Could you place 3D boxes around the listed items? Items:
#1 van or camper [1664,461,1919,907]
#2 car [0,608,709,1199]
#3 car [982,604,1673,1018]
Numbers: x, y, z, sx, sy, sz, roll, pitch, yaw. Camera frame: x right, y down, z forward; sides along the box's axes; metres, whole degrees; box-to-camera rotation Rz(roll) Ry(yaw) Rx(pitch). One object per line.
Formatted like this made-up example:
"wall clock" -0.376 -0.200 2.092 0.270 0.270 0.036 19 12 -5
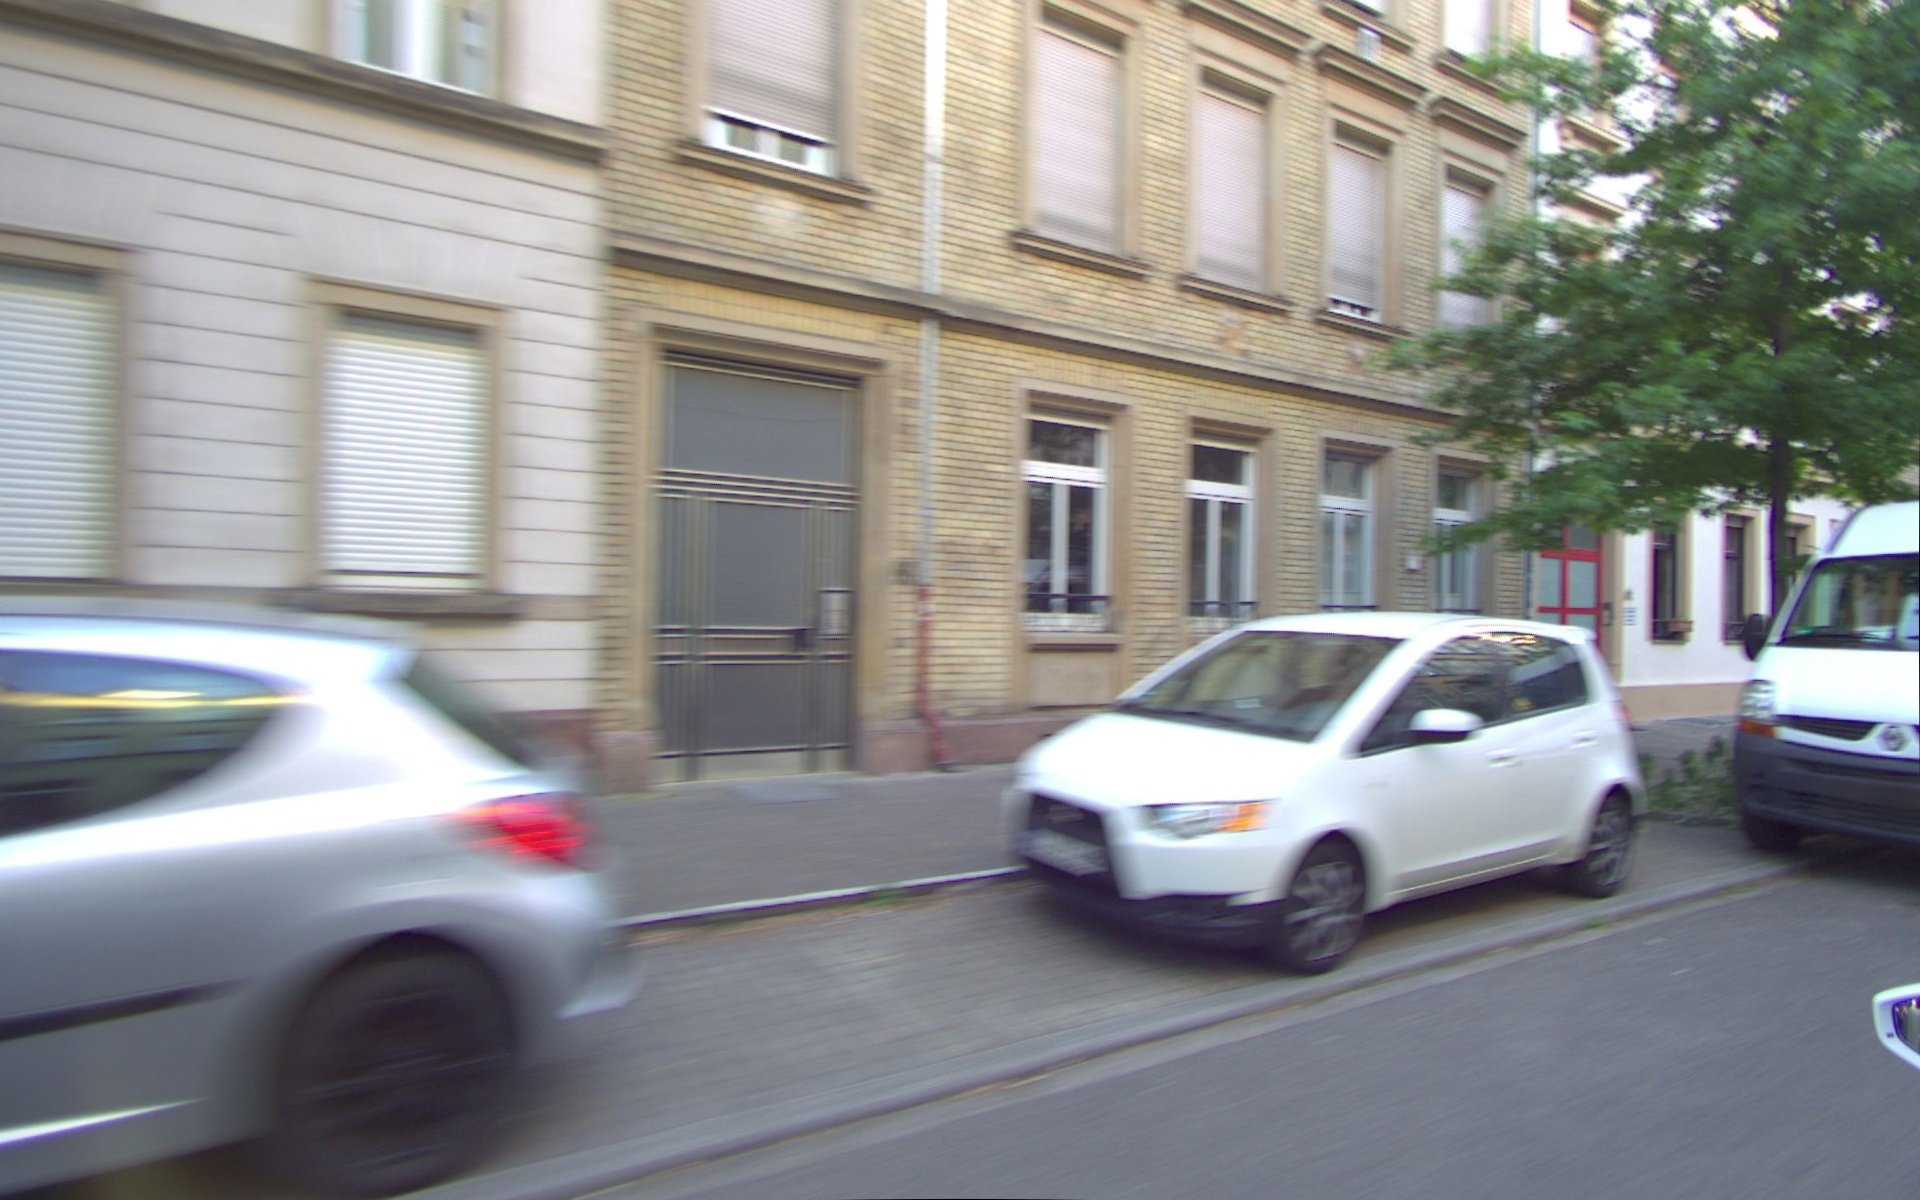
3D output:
"van or camper" 7.629 0.531 7.136 5.594 2.463 2.209 2 -2 -31
"car" -2.758 0.764 2.575 3.803 1.459 1.602 2 0 -30
"car" 2.128 0.850 5.507 3.757 1.563 1.601 2 -1 -32
